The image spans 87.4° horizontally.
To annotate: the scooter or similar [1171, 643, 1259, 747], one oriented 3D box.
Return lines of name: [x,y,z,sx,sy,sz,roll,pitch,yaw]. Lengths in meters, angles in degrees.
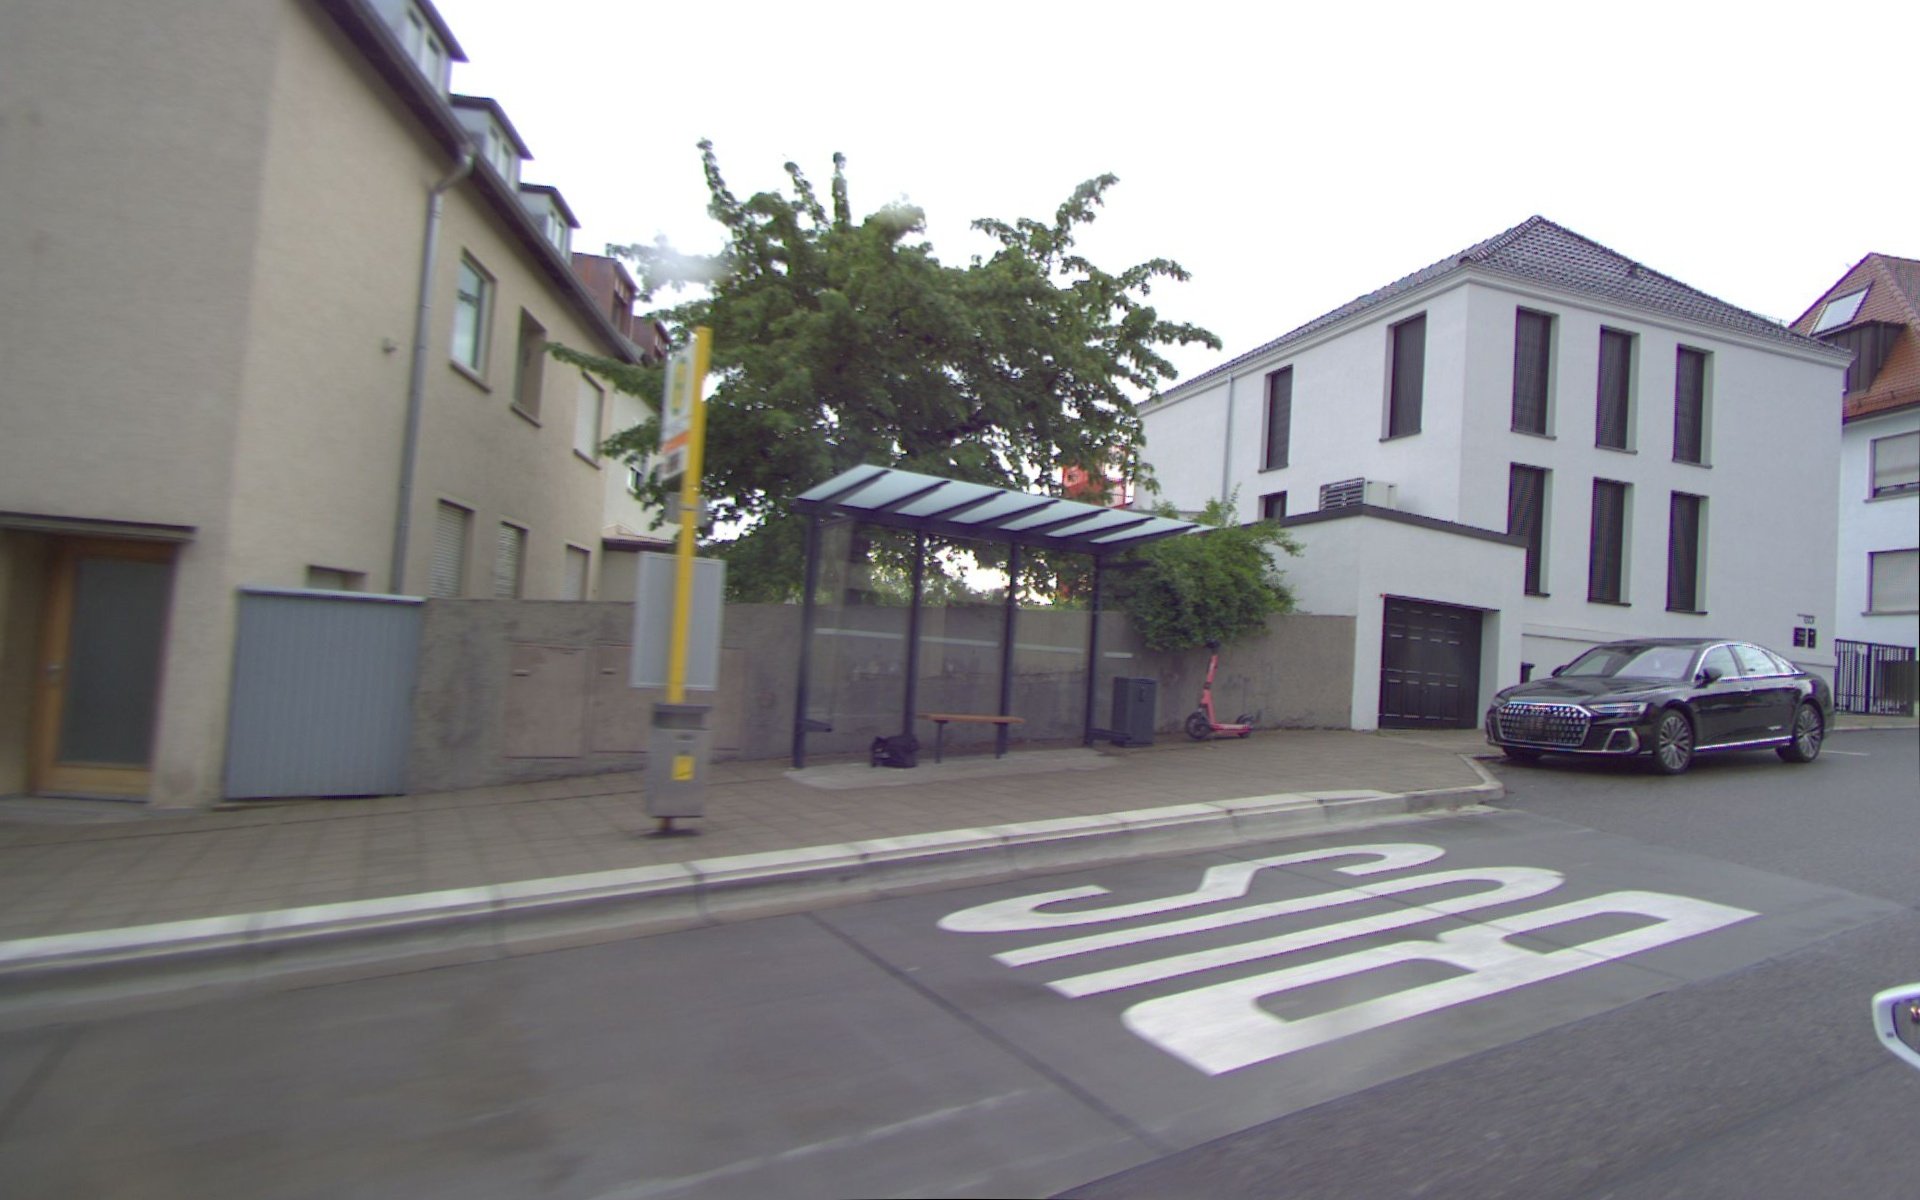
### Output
scooter or similar: [3.170,1.162,12.462,1.109,1.236,0.336,2,-1,-29]

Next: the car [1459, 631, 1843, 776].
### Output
car: [8.574,1.196,12.374,4.928,1.505,1.822,3,-3,-28]
